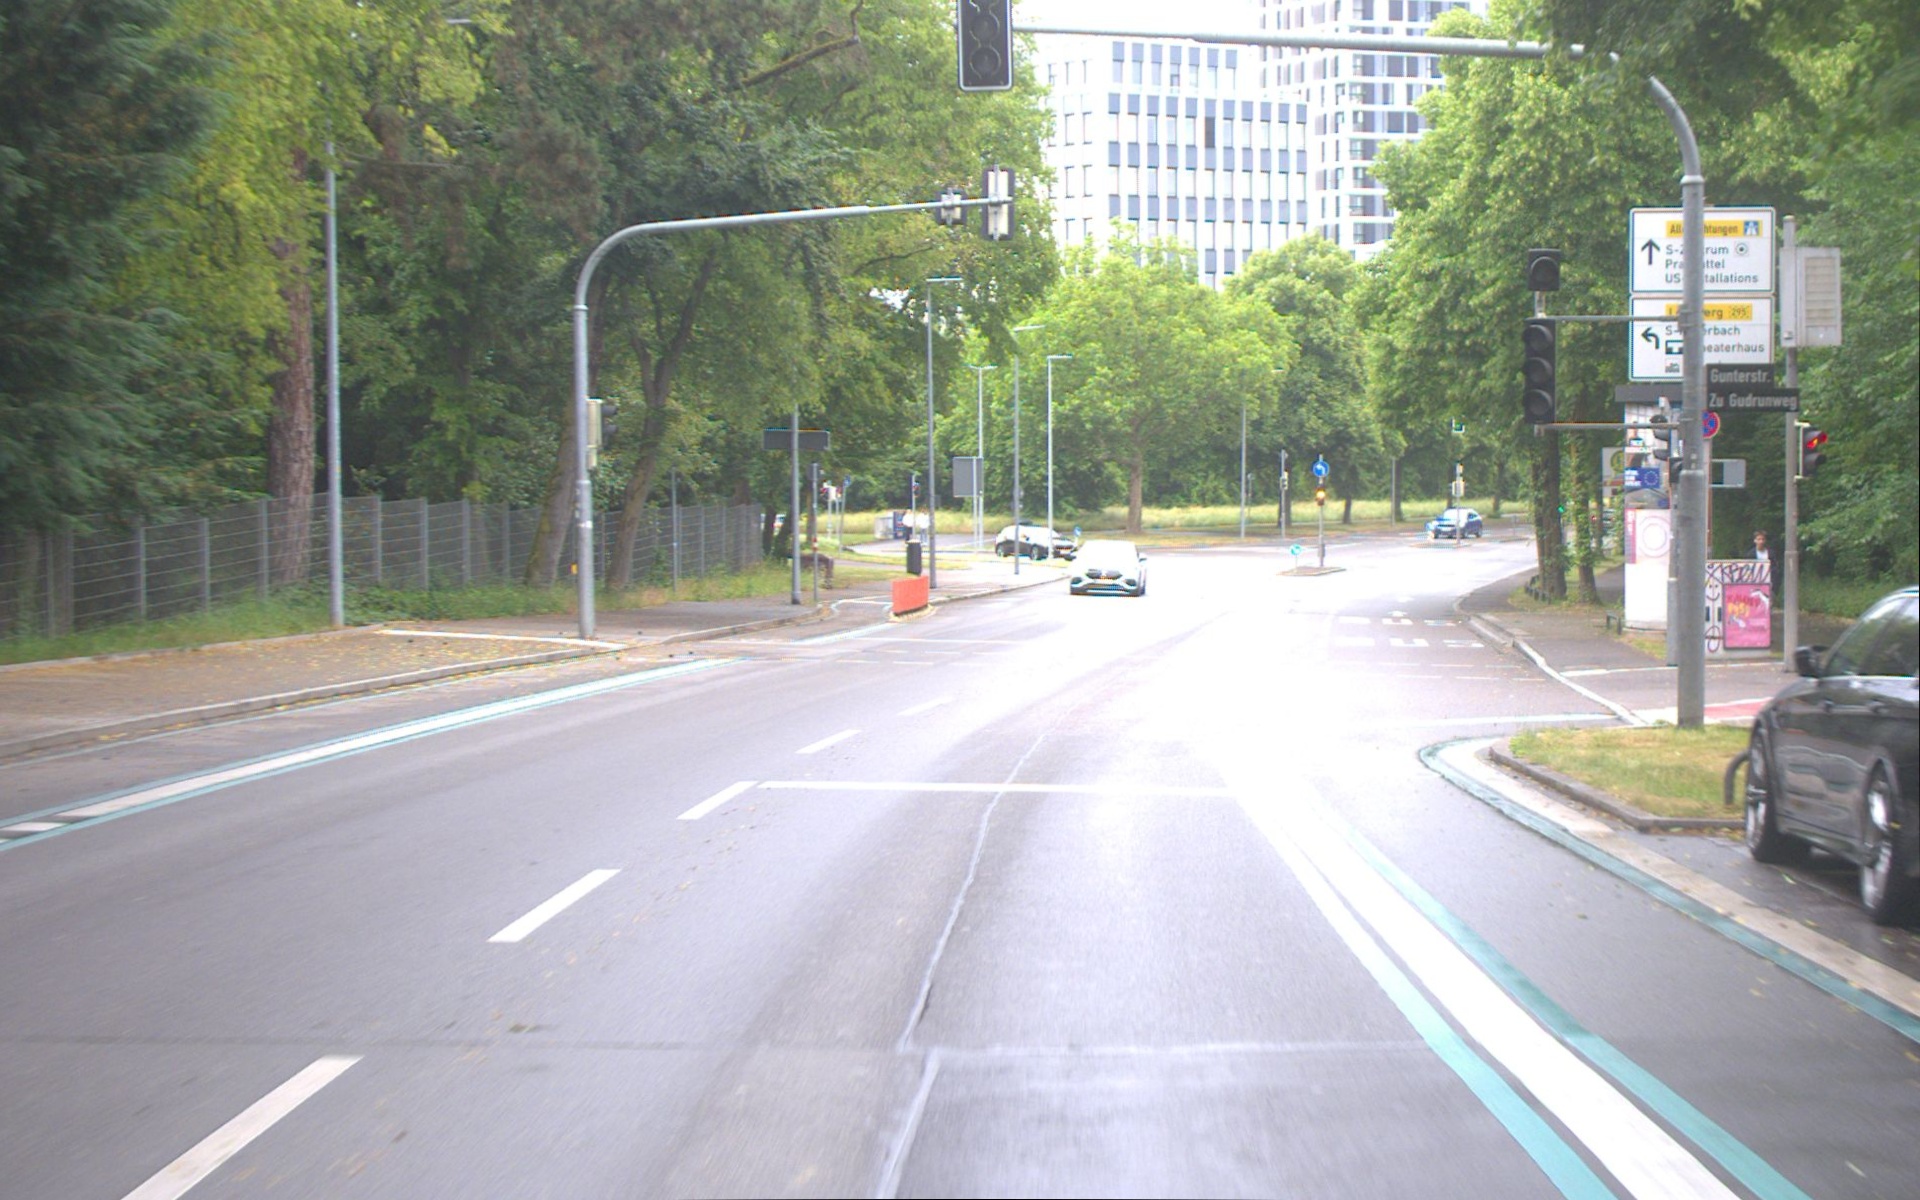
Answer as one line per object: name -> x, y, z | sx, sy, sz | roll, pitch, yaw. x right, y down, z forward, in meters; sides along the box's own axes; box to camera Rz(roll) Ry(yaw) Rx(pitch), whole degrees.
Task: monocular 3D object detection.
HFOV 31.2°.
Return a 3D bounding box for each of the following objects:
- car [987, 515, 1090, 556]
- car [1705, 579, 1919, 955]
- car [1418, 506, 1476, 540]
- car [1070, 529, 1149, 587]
car -> 3.206, -2.662, 141.073 | 3.996, 1.437, 1.603 | 5, 4, 37
car -> 4.736, 0.662, 15.681 | 1.757, 1.435, 4.857 | 2, 1, 2
car -> 24.829, -3.894, 175.187 | 1.996, 1.680, 3.995 | 1, 1, 22
car -> 4.145, -1.173, 94.571 | 1.844, 1.452, 4.499 | 1, 2, 7
